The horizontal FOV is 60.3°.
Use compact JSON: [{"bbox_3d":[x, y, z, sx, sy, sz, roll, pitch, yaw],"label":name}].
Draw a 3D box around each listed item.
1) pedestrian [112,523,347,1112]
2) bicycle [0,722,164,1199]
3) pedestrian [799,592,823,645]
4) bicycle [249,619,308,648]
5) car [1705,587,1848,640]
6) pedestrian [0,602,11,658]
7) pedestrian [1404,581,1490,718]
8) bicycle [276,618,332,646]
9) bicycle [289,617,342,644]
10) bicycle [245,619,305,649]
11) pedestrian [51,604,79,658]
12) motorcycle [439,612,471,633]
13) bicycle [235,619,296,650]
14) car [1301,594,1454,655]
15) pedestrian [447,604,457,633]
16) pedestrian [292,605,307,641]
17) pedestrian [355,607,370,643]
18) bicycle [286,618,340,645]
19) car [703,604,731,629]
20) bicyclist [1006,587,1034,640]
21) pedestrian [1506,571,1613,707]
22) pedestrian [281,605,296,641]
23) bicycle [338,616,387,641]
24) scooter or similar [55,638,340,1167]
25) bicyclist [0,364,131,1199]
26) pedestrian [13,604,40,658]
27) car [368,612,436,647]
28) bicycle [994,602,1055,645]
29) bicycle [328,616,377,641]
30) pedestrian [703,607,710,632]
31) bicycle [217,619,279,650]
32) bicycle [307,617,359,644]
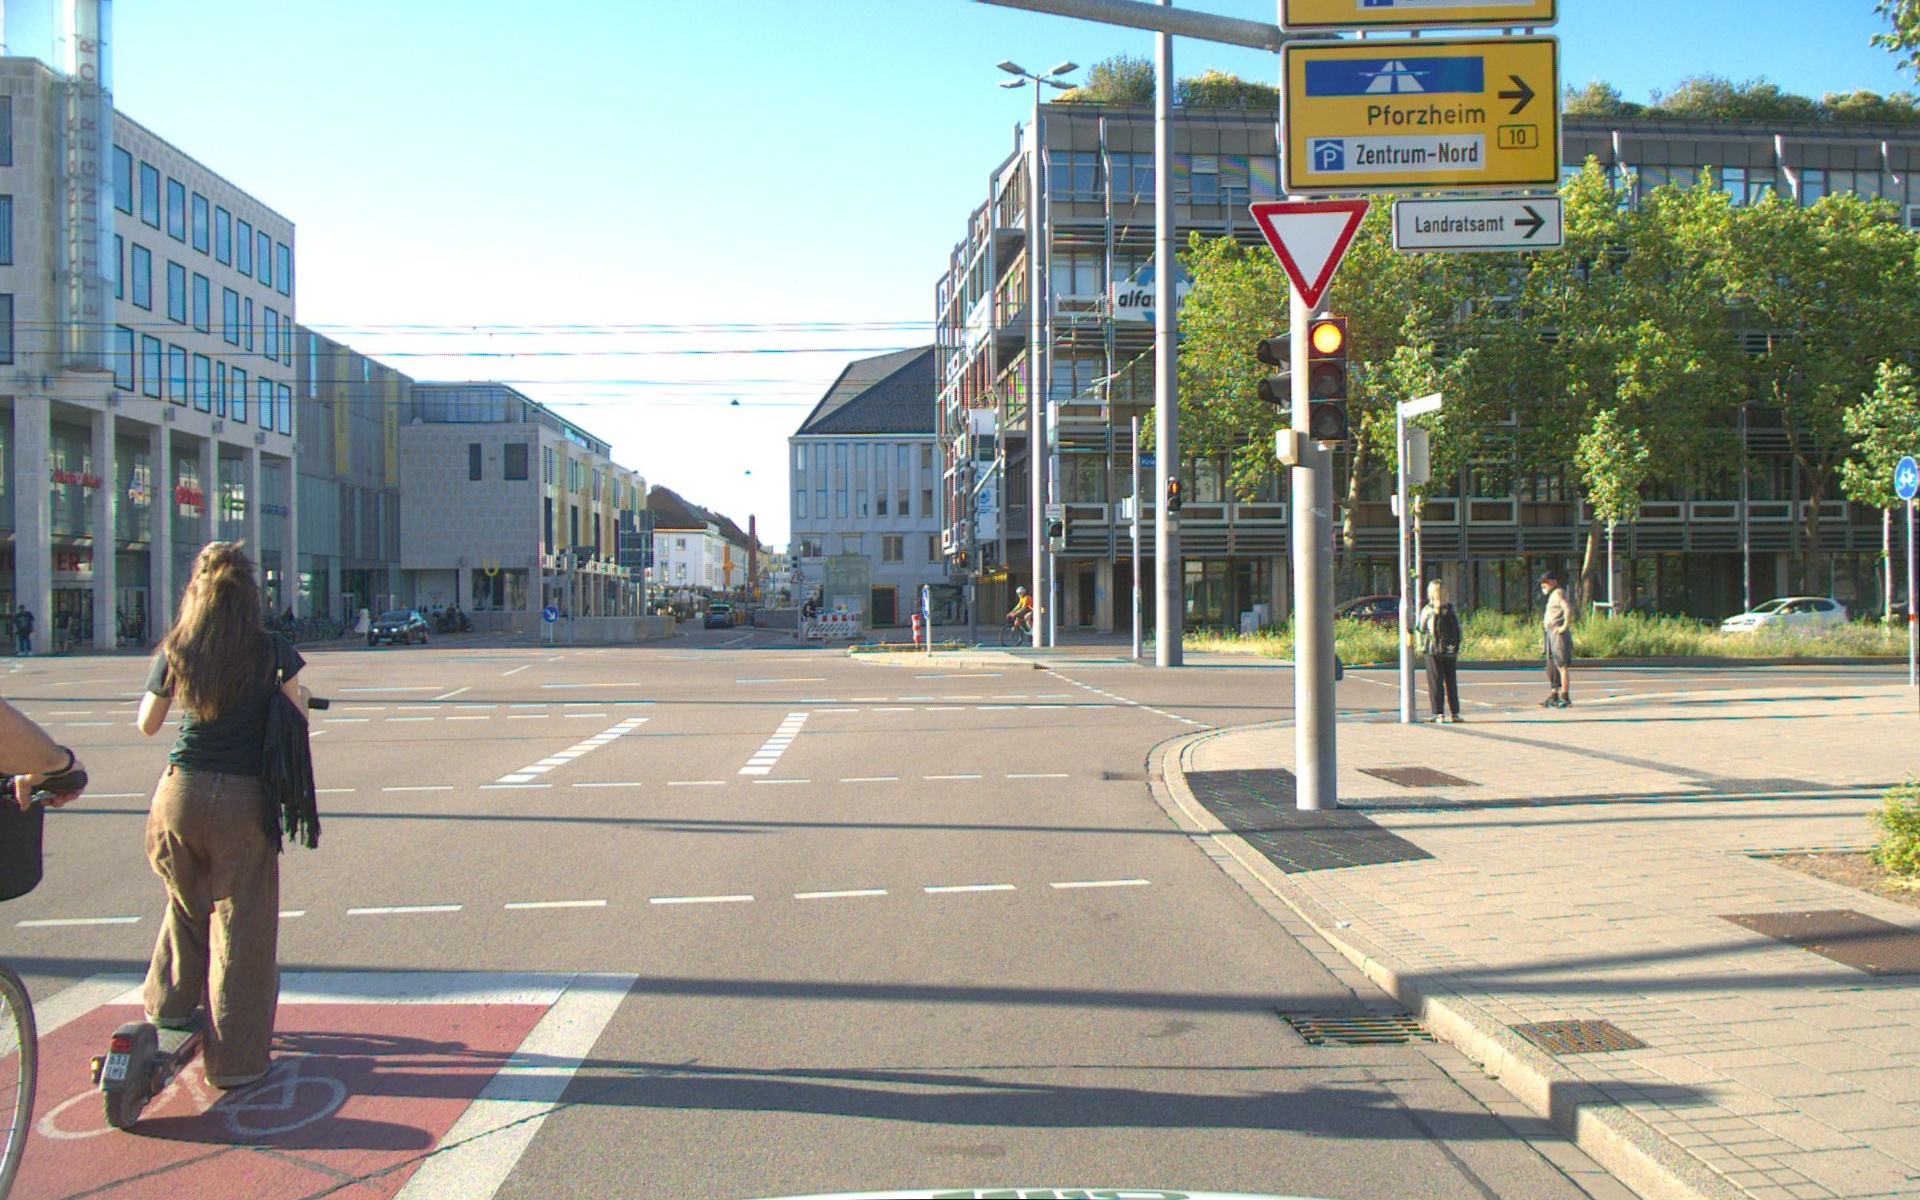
[{"bbox_3d":[-2.193,0.617,5.023,0.540,1.661,0.569,1,-1,-16],"label":"pedestrian"},{"bbox_3d":[-2.087,0.869,2.923,0.475,1.176,1.831,1,0,-1],"label":"bicycle"},{"bbox_3d":[-5.461,0.676,60.542,0.628,1.923,0.791,1,-1,14],"label":"pedestrian"},{"bbox_3d":[-29.506,1.443,71.630,2.260,1.244,0.611,0,0,-3],"label":"bicycle"},{"bbox_3d":[26.067,0.427,52.869,3.825,1.613,1.656,1,0,-8],"label":"car"},{"bbox_3d":[-33.087,1.034,56.891,0.706,1.918,0.780,1,-1,-28],"label":"pedestrian"},{"bbox_3d":[5.511,0.551,18.744,0.772,1.518,0.644,1,-1,-1],"label":"pedestrian"},{"bbox_3d":[-29.606,1.454,74.695,2.260,1.244,0.611,0,0,-3],"label":"bicycle"},{"bbox_3d":[-30.716,1.453,78.815,2.260,1.244,0.611,0,0,-3],"label":"bicycle"},{"bbox_3d":[-29.293,1.443,70.753,2.260,1.244,0.611,0,0,-3],"label":"bicycle"},{"bbox_3d":[-31.174,1.076,57.601,0.788,1.876,0.854,0,0,-33],"label":"pedestrian"},{"bbox_3d":[-29.762,1.335,97.473,1.775,1.228,0.509,1,0,-16],"label":"motorcycle"},{"bbox_3d":[-29.128,1.440,69.399,2.260,1.244,0.611,0,0,-3],"label":"bicycle"},{"bbox_3d":[11.689,0.674,46.386,3.812,1.613,1.656,-1,0,-8],"label":"car"},{"bbox_3d":[-30.099,1.080,98.075,0.512,1.709,0.581,1,0,-14],"label":"pedestrian"},{"bbox_3d":[-32.227,1.108,80.647,0.544,1.709,0.606,1,0,-11],"label":"pedestrian"},{"bbox_3d":[-28.854,1.204,79.928,0.639,1.749,0.447,0,0,-25],"label":"pedestrian"},{"bbox_3d":[-30.067,1.456,76.845,2.260,1.244,0.611,0,0,-3],"label":"bicycle"},{"bbox_3d":[-15.825,1.064,107.942,1.705,1.558,3.849,1,0,-8],"label":"car"},{"bbox_3d":[1.682,0.382,46.287,0.698,1.462,0.496,1,-1,-10],"label":"bicyclist"},{"bbox_3d":[7.676,0.487,21.194,0.866,1.694,0.958,1,-1,-22],"label":"pedestrian"},{"bbox_3d":[-32.696,1.120,80.529,0.560,1.709,0.614,1,0,-10],"label":"pedestrian"},{"bbox_3d":[-30.817,1.480,85.335,2.260,1.244,0.611,0,0,-3],"label":"bicycle"},{"bbox_3d":[-2.183,0.786,4.856,0.538,1.316,1.189,1,0,-15],"label":"scooter or similar"},{"bbox_3d":[-1.983,0.465,2.848,0.647,1.750,0.865,1,-1,-1],"label":"bicyclist"},{"bbox_3d":[-32.865,1.084,58.260,0.787,1.876,0.856,0,0,-29],"label":"pedestrian"},{"bbox_3d":[-23.380,1.212,69.481,1.597,1.365,3.998,-3,0,-3],"label":"car"},{"bbox_3d":[1.806,0.666,46.306,1.615,1.175,0.496,1,-1,-10],"label":"bicycle"},{"bbox_3d":[-30.929,1.473,84.264,2.260,1.244,0.611,0,0,-3],"label":"bicycle"},{"bbox_3d":[-17.927,1.366,116.948,0.511,1.709,0.582,1,0,-8],"label":"pedestrian"},{"bbox_3d":[-29.336,1.430,68.113,2.260,1.244,0.611,0,0,-3],"label":"bicycle"},{"bbox_3d":[-30.336,1.465,80.048,2.260,1.244,0.611,0,0,-3],"label":"bicycle"}]
